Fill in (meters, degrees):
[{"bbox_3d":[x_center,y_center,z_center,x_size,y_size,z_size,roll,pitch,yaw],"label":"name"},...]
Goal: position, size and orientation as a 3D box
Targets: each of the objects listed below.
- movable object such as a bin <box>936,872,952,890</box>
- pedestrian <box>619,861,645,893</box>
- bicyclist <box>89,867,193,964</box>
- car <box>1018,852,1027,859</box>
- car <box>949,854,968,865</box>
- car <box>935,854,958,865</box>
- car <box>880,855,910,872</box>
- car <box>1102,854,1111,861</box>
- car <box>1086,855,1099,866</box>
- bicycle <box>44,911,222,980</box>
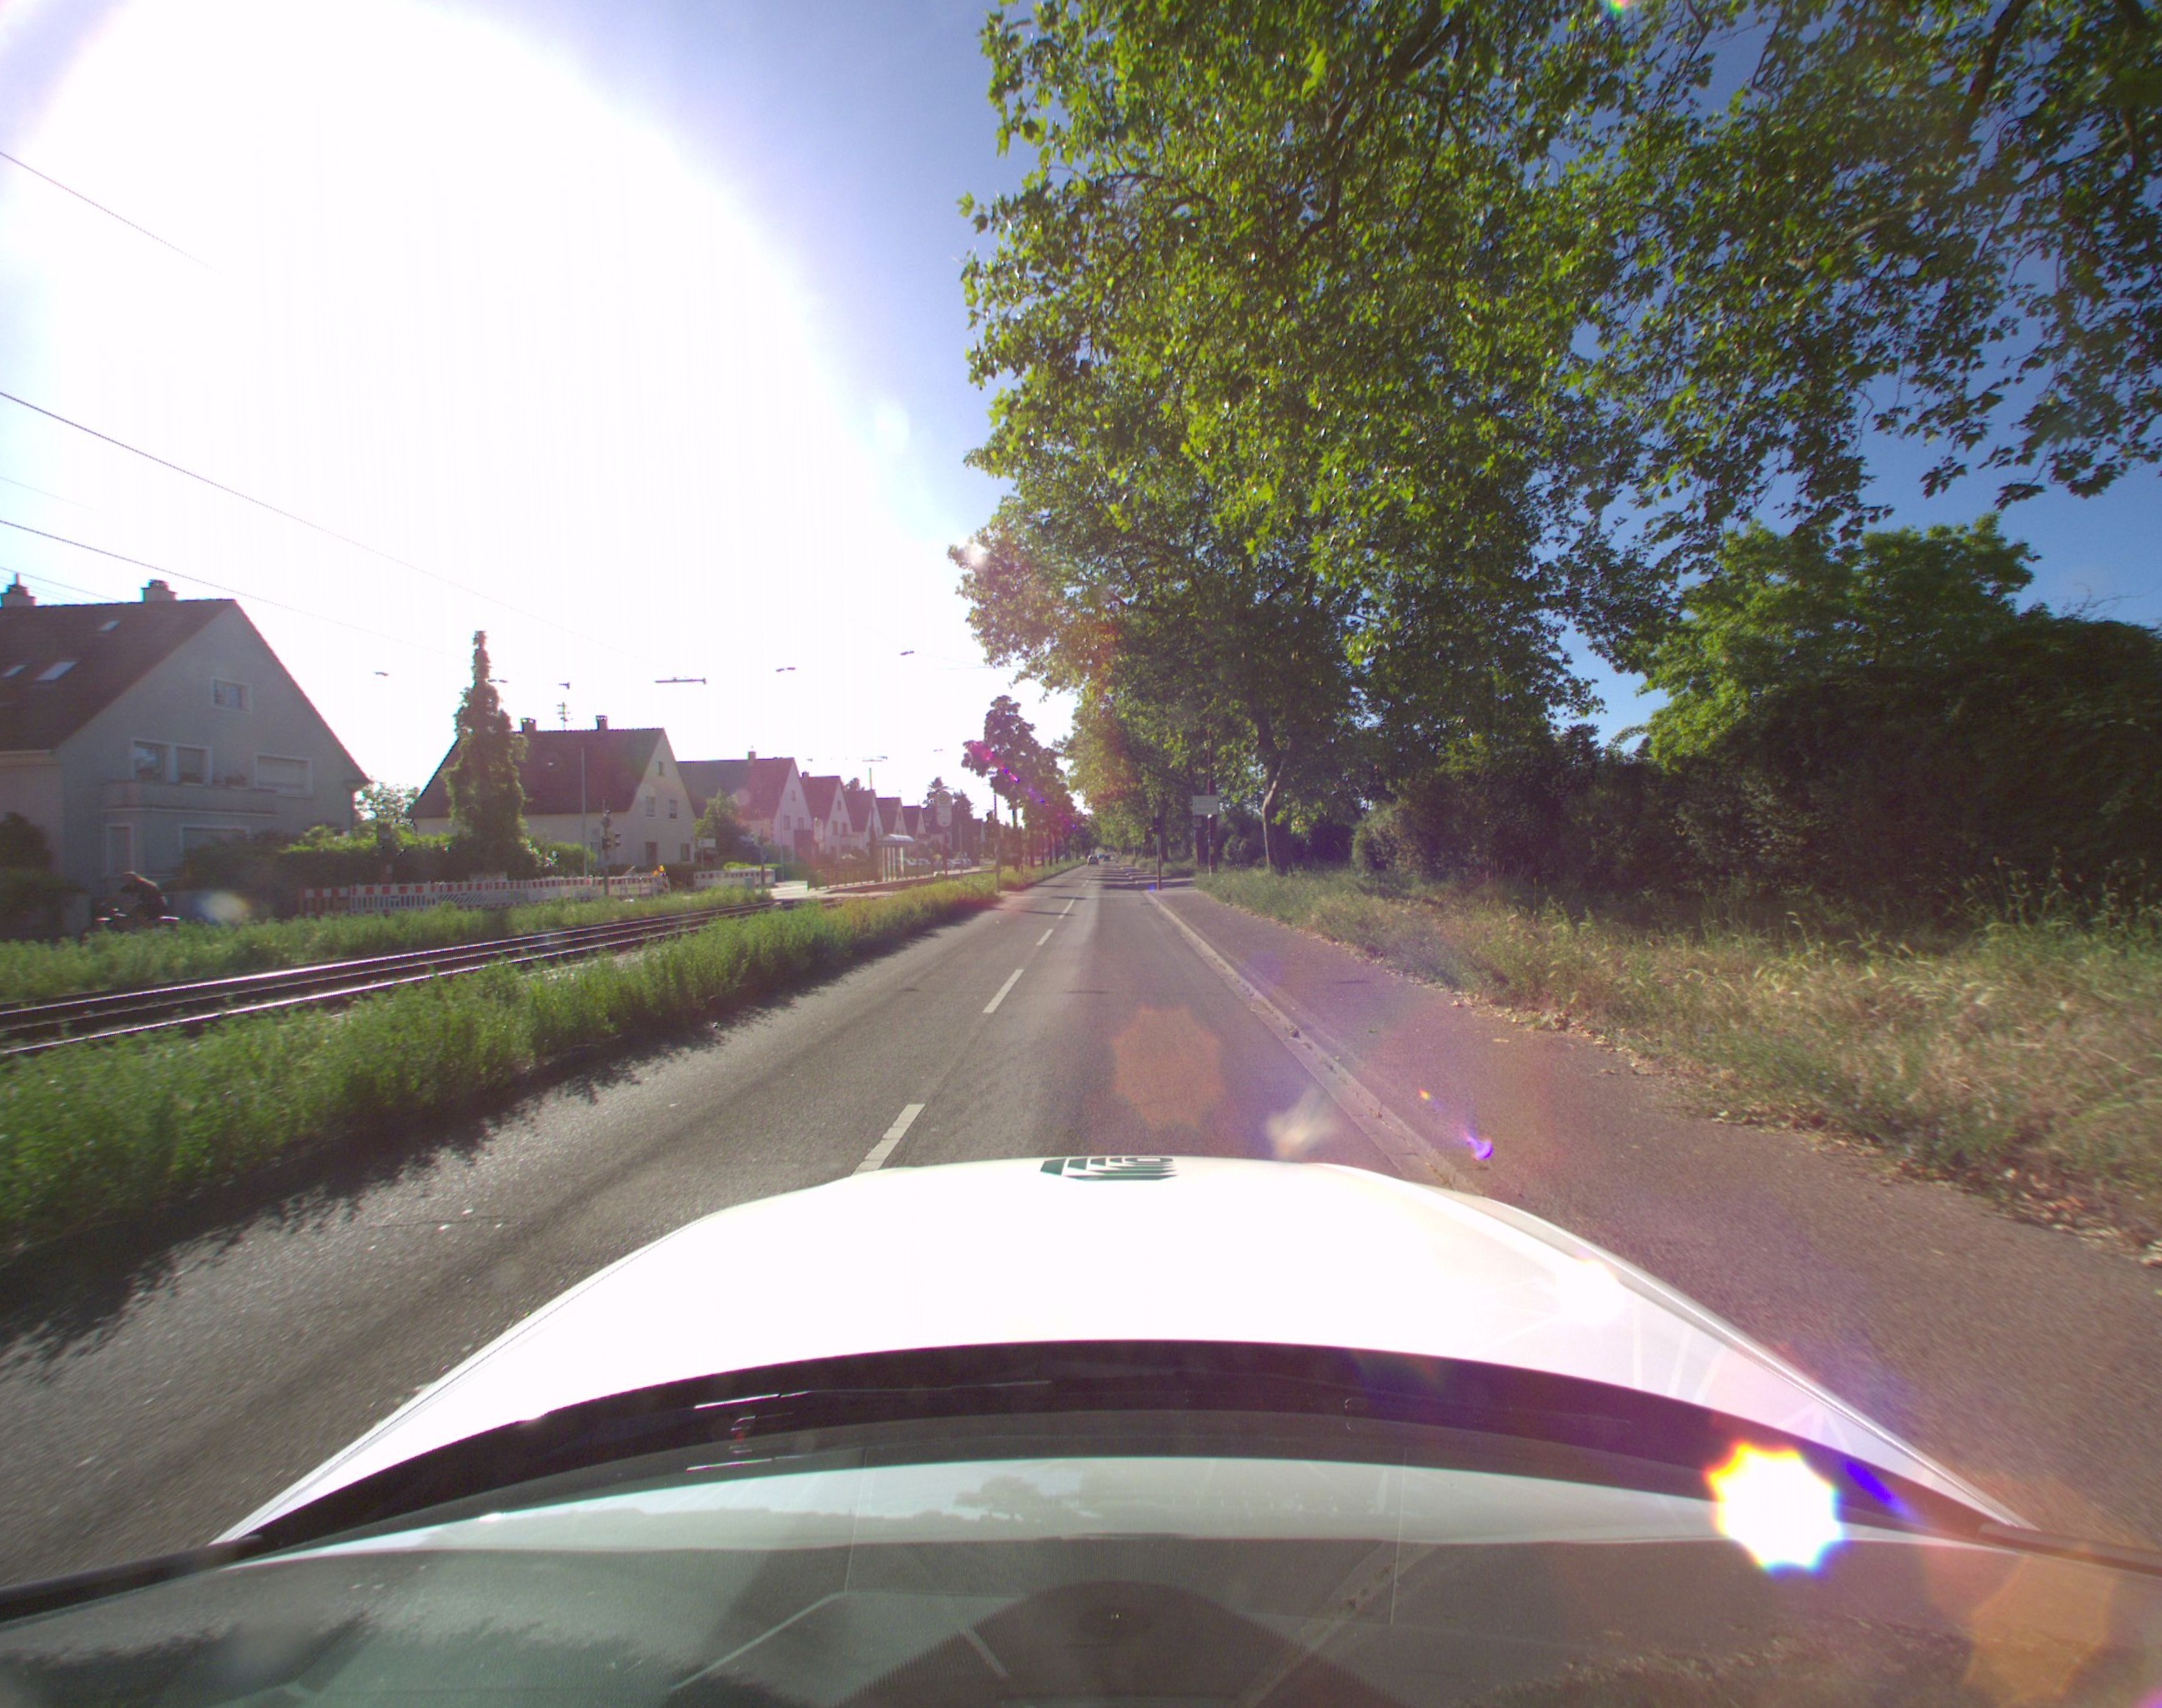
[{"bbox_3d":[-4.500,0.871,26.733,0.384,0.582,0.380,0,0,10],"label":"movable object such as a bin"},{"bbox_3d":[-22.452,1.162,40.724,0.790,1.534,0.812,-2,2,-6],"label":"pedestrian"},{"bbox_3d":[-19.053,1.218,16.541,0.848,1.887,1.072,0,0,2],"label":"bicyclist"},{"bbox_3d":[-14.712,0.353,204.953,1.853,1.542,4.229,0,0,1],"label":"car"},{"bbox_3d":[-17.456,0.728,116.269,1.986,1.450,4.129,2,0,2],"label":"car"},{"bbox_3d":[-17.746,0.748,107.468,1.985,1.426,4.414,0,0,3],"label":"car"},{"bbox_3d":[-19.111,0.928,83.925,1.986,1.713,4.392,0,0,2],"label":"car"},{"bbox_3d":[5.992,0.736,191.794,1.986,1.603,4.474,0,0,1],"label":"car"},{"bbox_3d":[1.743,0.957,120.958,1.853,1.601,4.229,0,0,1],"label":"car"},{"bbox_3d":[-19.042,1.793,16.464,0.848,1.134,2.310,0,0,2],"label":"bicycle"}]
